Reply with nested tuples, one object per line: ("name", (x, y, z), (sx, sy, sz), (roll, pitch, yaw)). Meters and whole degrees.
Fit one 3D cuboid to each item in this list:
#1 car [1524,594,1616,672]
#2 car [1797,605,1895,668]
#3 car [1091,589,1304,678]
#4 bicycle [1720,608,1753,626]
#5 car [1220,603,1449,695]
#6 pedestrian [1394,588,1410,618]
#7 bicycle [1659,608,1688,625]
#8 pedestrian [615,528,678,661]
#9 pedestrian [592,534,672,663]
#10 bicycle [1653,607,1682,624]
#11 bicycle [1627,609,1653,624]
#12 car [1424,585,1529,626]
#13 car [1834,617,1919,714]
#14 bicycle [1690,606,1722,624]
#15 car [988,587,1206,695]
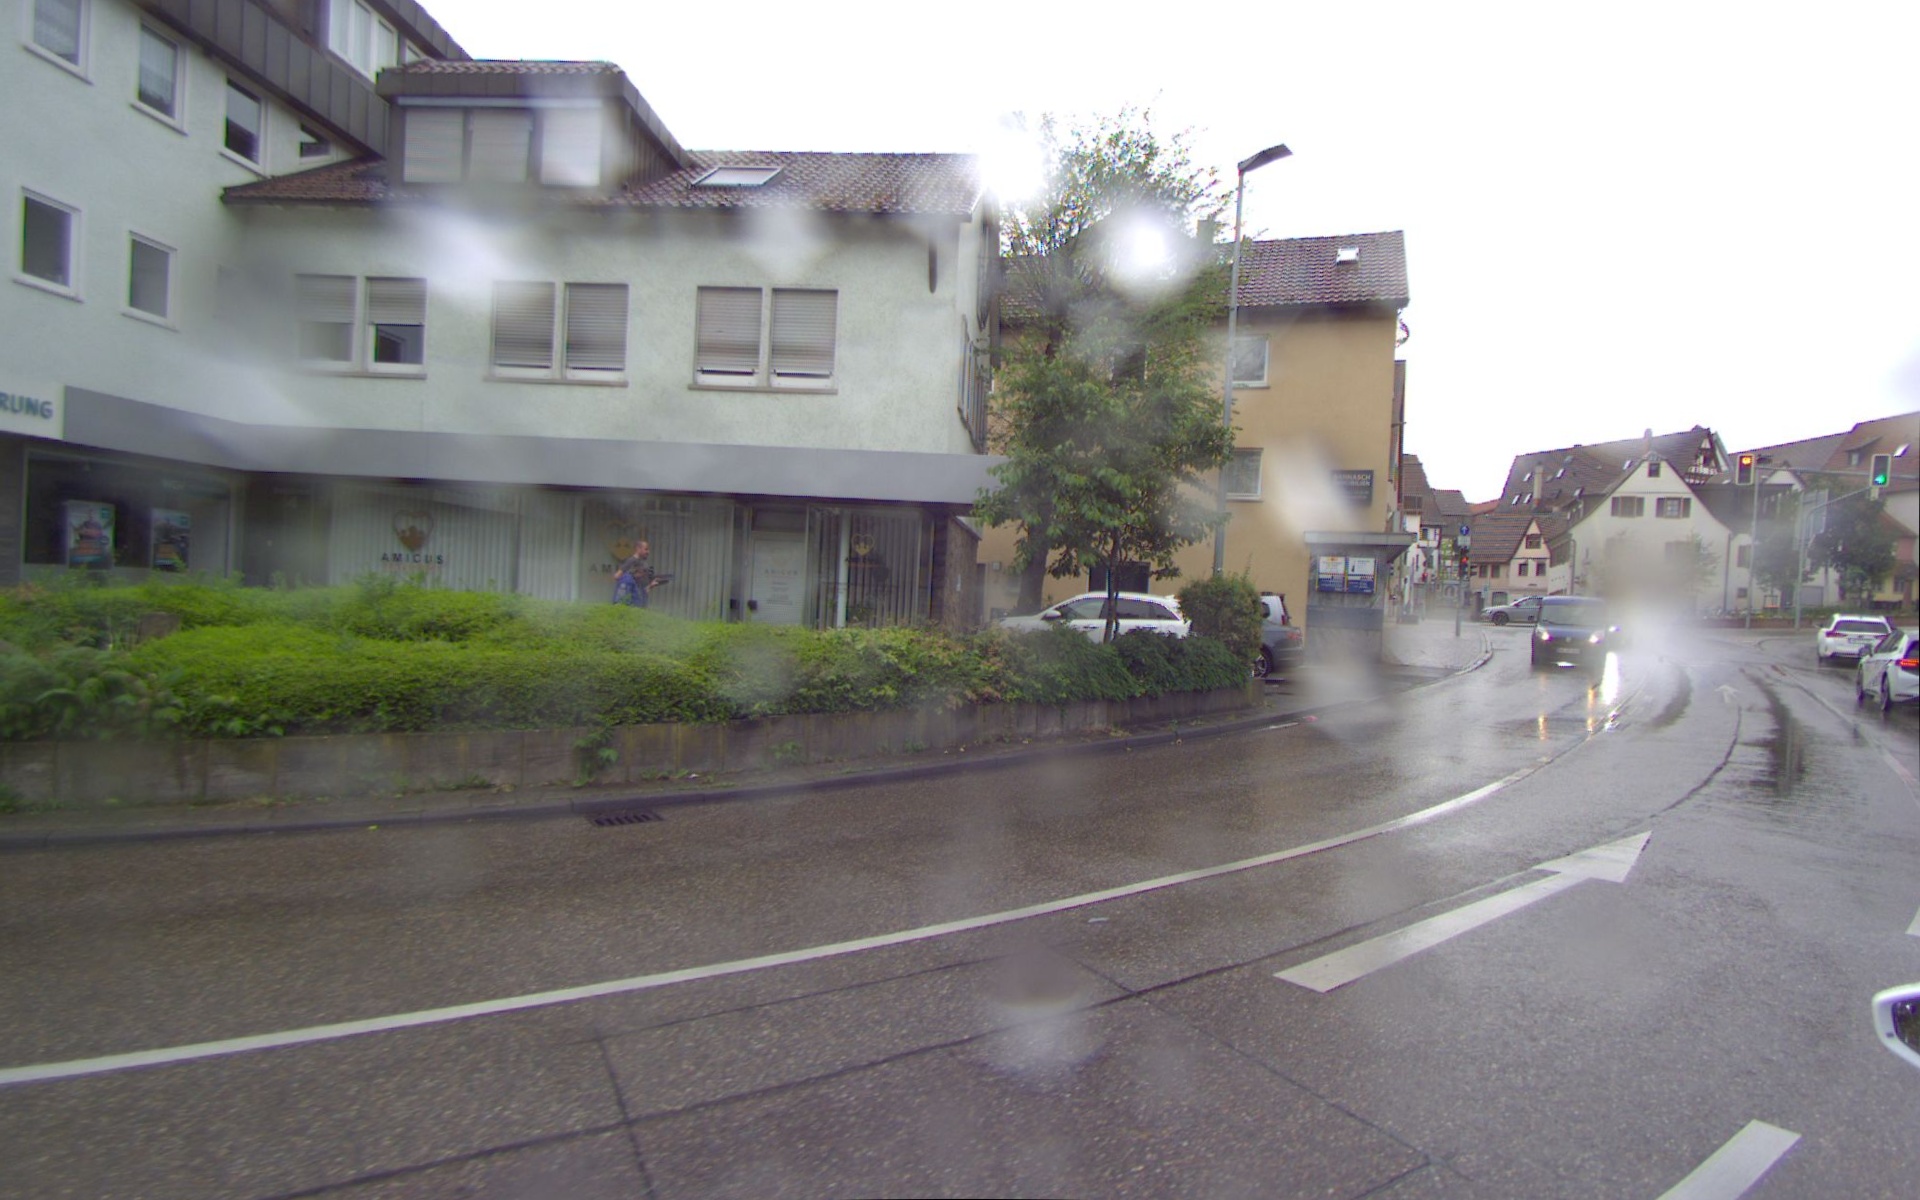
("car", (16.774, 0.822, 27.790), (1.964, 1.907, 4.369), (2, 1, 30))
("car", (26.681, 1.039, 30.380), (1.861, 1.617, 4.307), (3, 2, 38))
("car", (5.849, 0.811, 24.651), (4.837, 1.850, 1.962), (-3, 1, 19))
("bicycle", (44.118, 0.949, 57.063), (1.440, 0.924, 0.393), (2, 4, 5))
("car", (7.119, 0.888, 19.474), (3.920, 1.473, 1.900), (2, 2, 16))
("pedestrian", (28.091, 0.184, 63.838), (0.782, 1.855, 0.714), (-1, 1, 7))
("bicycle", (40.517, 0.952, 57.038), (1.443, 0.924, 0.392), (1, 2, -8))
("pedestrian", (-4.502, -0.080, 14.434), (0.660, 1.844, 0.617), (2, 1, -1))
("pedestrian", (-4.492, -0.029, 13.790), (0.846, 1.694, 0.617), (2, 1, 0))
("bicycle", (40.508, 0.891, 57.491), (1.443, 0.924, 0.392), (1, 2, -8))
("bicycle", (38.880, 0.924, 57.429), (1.413, 0.830, 0.337), (0, 4, -17))
("car", (25.806, 0.252, 50.370), (4.393, 1.612, 1.999), (6, 3, 23))
("car", (18.338, 1.197, 19.268), (1.831, 1.493, 3.988), (1, 3, 33))
("bicycle", (42.684, 0.863, 57.495), (1.440, 0.924, 0.393), (2, 4, 5))
("car", (2.460, 0.673, 17.914), (3.571, 1.651, 2.001), (3, 1, 11))
